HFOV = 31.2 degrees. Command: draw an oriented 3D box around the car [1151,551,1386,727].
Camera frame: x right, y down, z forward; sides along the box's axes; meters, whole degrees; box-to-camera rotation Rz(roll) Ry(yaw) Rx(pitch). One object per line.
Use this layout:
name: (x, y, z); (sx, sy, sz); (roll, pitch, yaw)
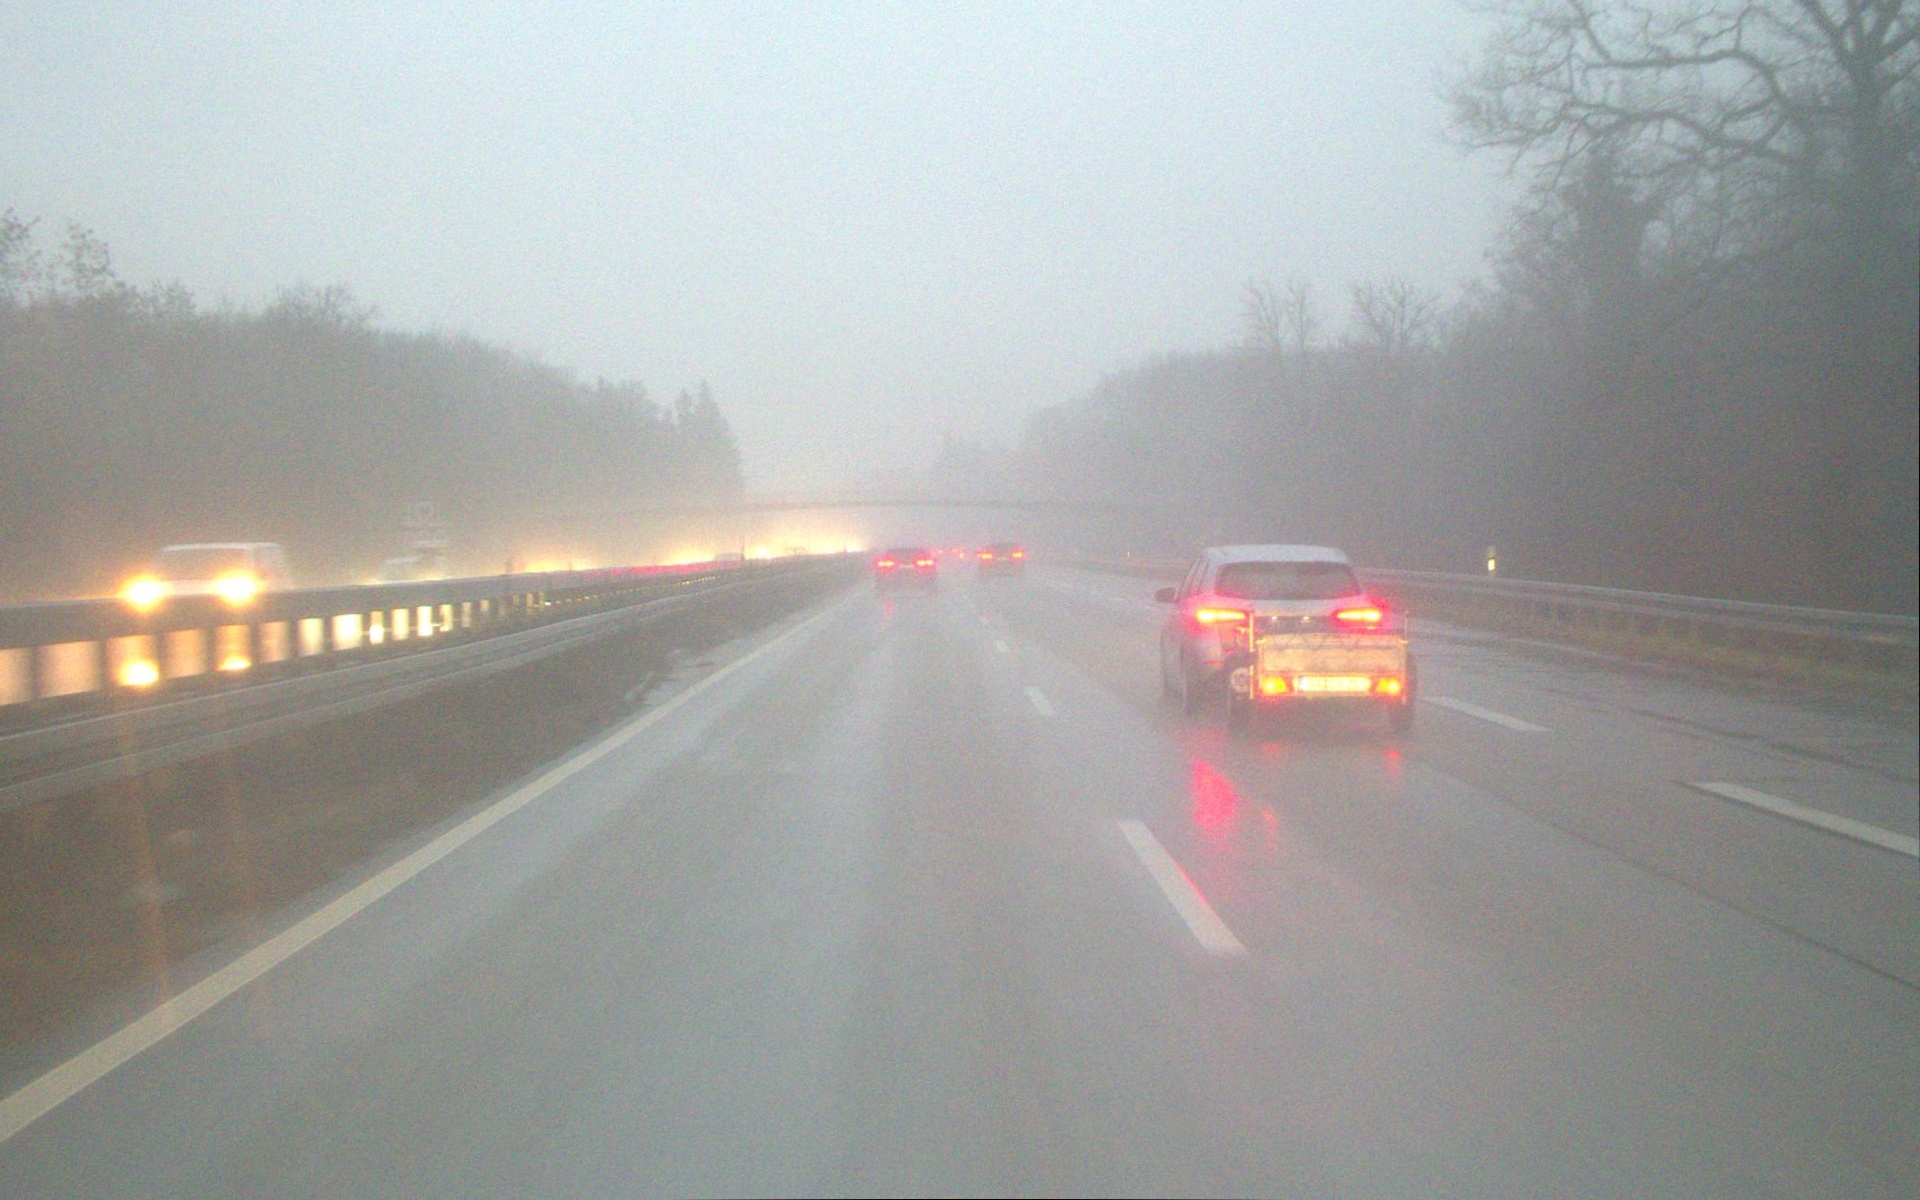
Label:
car: (2.841, 0.322, 32.374); (1.786, 1.511, 3.811); (-2, 1, -1)

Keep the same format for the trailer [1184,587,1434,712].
trailer: (2.887, 0.391, 28.993); (1.748, 0.922, 2.951); (-2, 1, -1)

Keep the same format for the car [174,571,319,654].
car: (-12.470, 0.190, 60.308); (1.704, 1.347, 4.157); (-1, 1, -1)
